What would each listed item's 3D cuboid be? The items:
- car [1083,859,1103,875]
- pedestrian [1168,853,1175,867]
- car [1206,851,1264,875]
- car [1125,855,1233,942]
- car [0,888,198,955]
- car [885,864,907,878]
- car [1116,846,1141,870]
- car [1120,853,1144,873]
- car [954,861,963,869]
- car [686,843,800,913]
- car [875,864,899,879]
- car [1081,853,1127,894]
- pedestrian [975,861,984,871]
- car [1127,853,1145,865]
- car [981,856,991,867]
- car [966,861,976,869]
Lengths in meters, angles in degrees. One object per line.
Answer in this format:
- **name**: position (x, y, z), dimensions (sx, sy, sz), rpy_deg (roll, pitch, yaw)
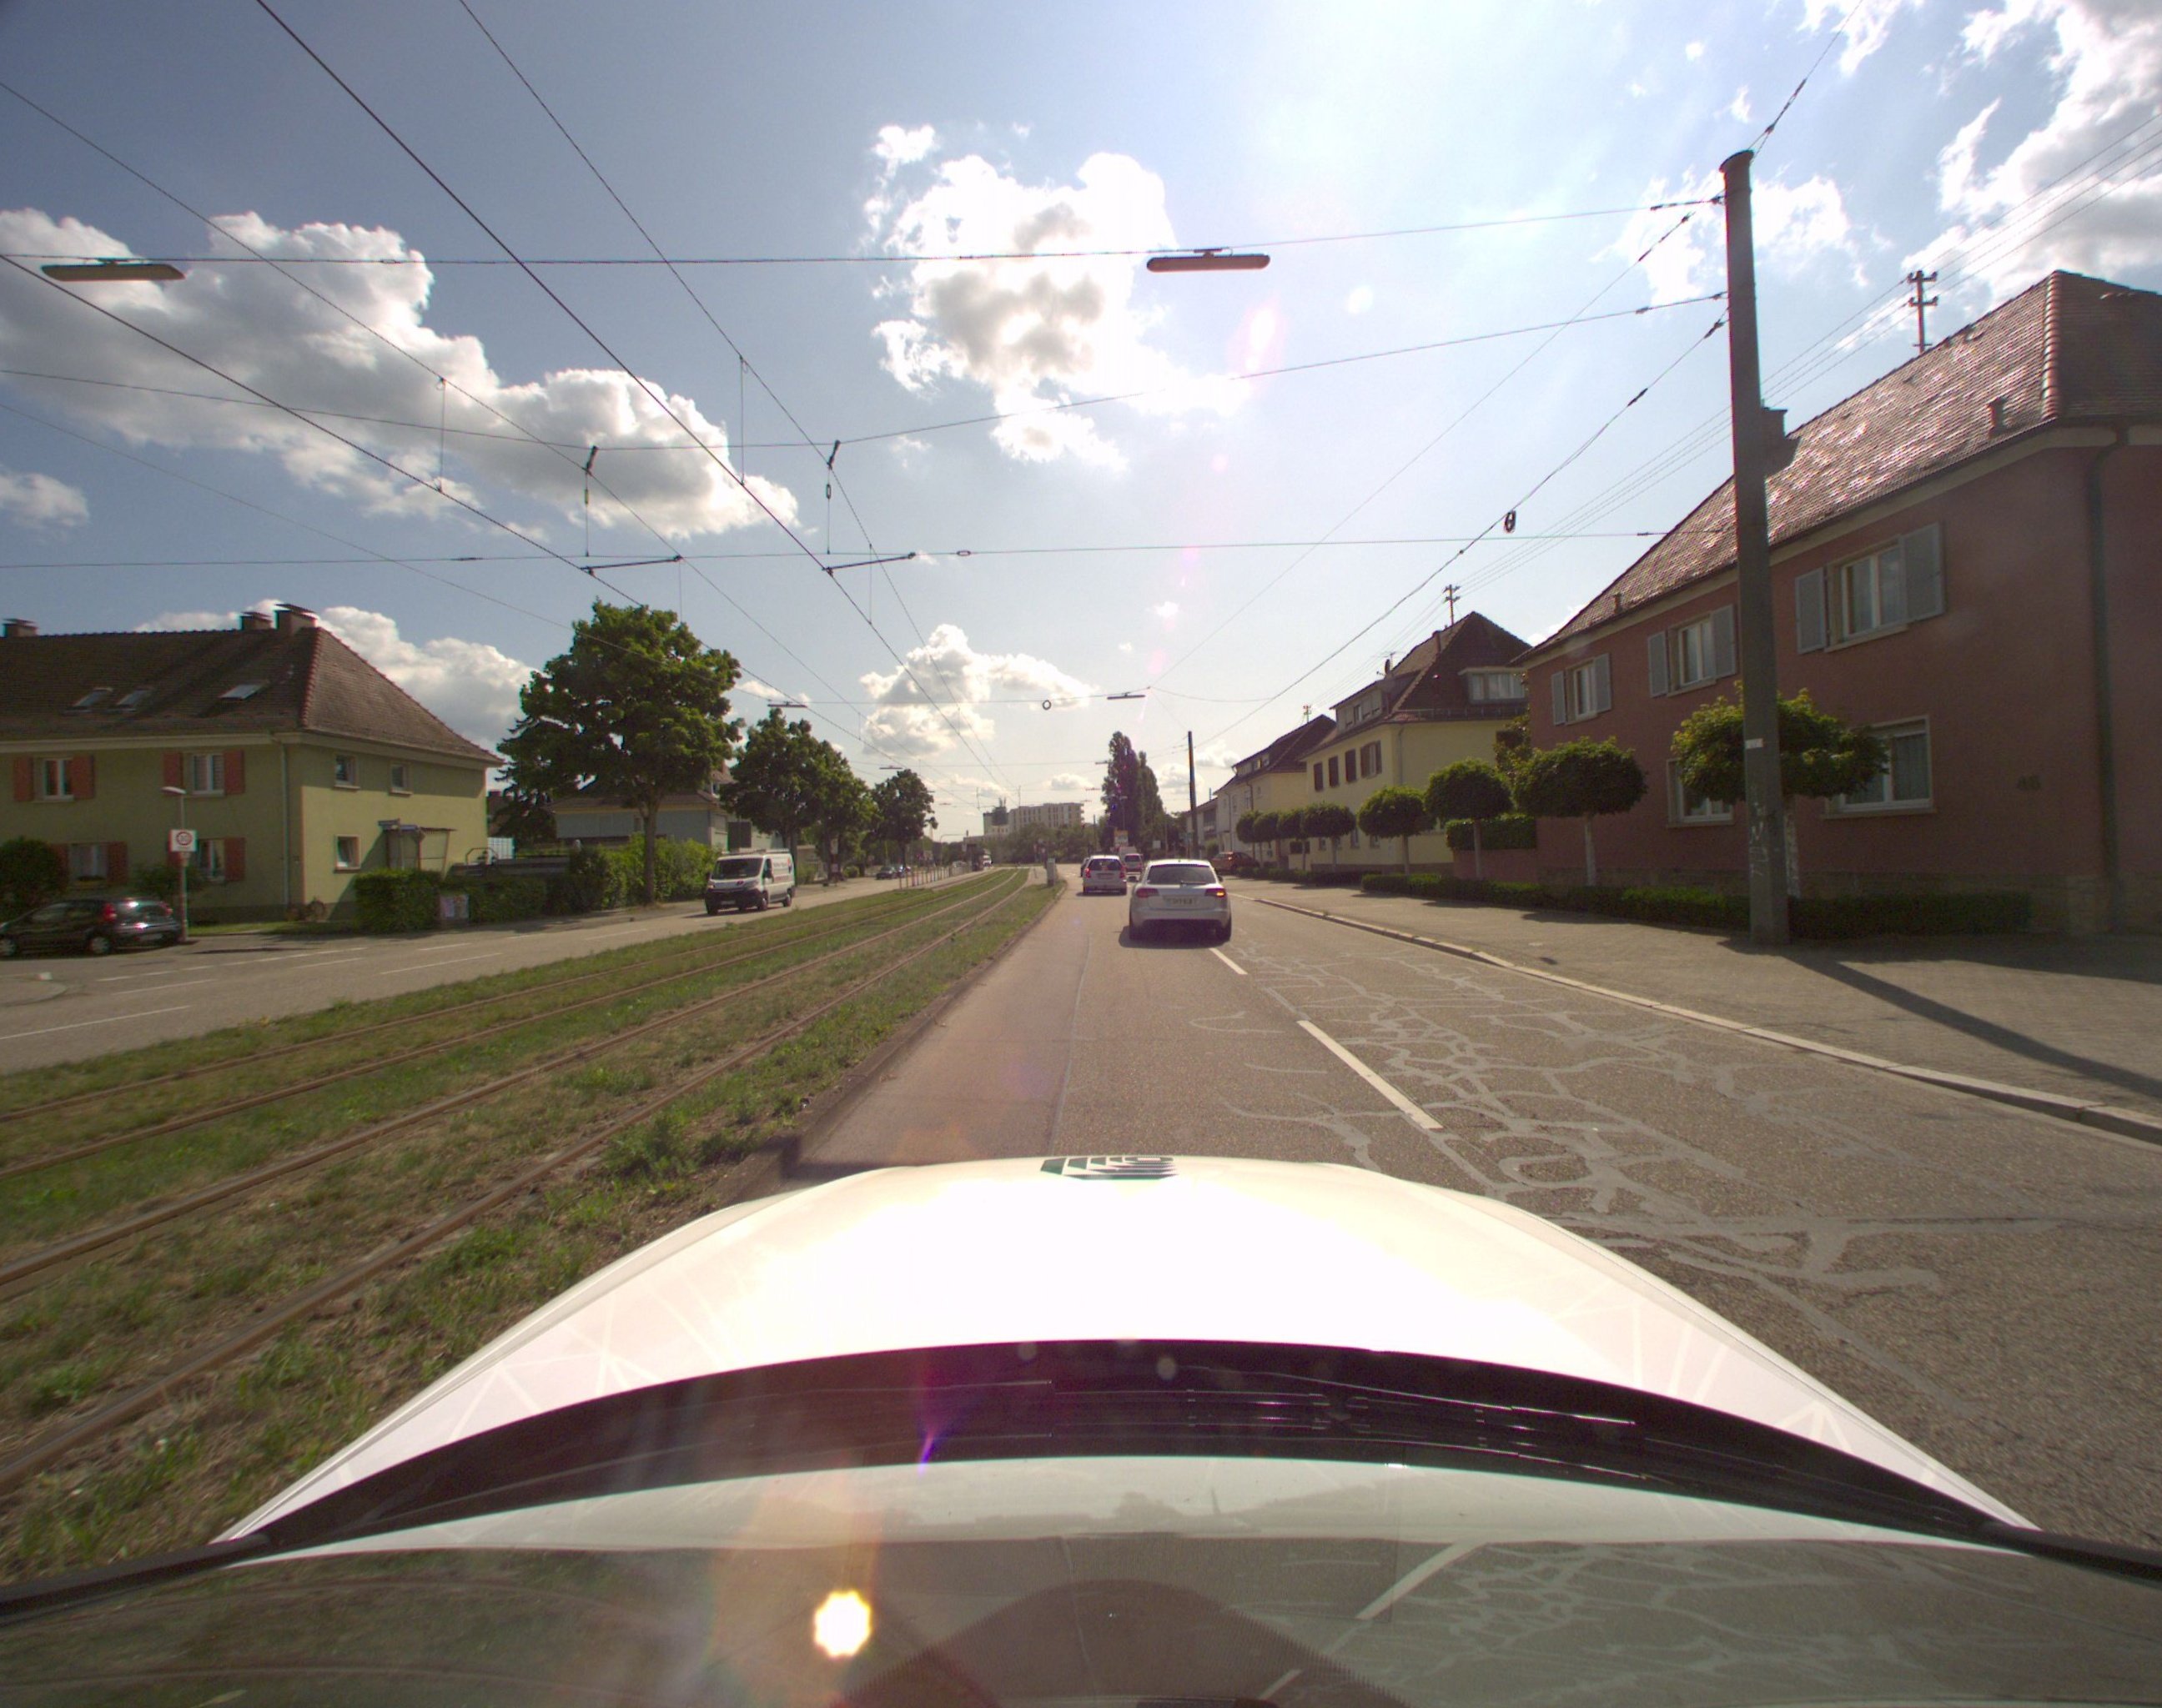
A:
- **car**: position (1.101, 1.259, 78.783), dimensions (1.879, 1.530, 4.093), rpy_deg (0, -1, 0)
- **pedestrian**: position (11.537, 0.793, 103.457), dimensions (0.719, 1.783, 0.702), rpy_deg (-4, -1, -1)
- **car**: position (10.634, 0.611, 56.141), dimensions (4.117, 1.458, 1.892), rpy_deg (-3, 1, -44)
- **car**: position (1.843, 0.786, 16.334), dimensions (1.846, 1.492, 4.540), rpy_deg (-1, 0, 4)
- **car**: position (-26.045, 1.743, 21.271), dimensions (3.732, 1.468, 1.892), rpy_deg (-2, 0, -2)
- **car**: position (-21.643, 1.970, 95.410), dimensions (2.059, 1.614, 4.738), rpy_deg (-2, 0, -9)
- **car**: position (5.149, 0.443, 89.049), dimensions (2.037, 2.557, 5.224), rpy_deg (-1, 0, -4)
- **car**: position (4.585, 0.781, 72.463), dimensions (1.875, 1.731, 4.101), rpy_deg (-2, 0, 6)
- **car**: position (-25.551, 2.295, 169.621), dimensions (1.861, 1.651, 3.989), rpy_deg (0, -1, -7)
- **car**: position (-12.811, 0.881, 31.322), dimensions (2.191, 2.372, 5.328), rpy_deg (-3, -1, -2)
- **car**: position (-21.202, 1.929, 89.198), dimensions (1.781, 1.584, 3.928), rpy_deg (-1, 0, -1)
- **car**: position (0.903, 0.763, 33.641), dimensions (1.781, 1.577, 4.093), rpy_deg (1, 0, 0)
- **pedestrian**: position (-13.166, 1.565, 105.688), dimensions (1.056, 1.376, 0.859), rpy_deg (0, -1, -4)
- **car**: position (7.365, 0.656, 109.399), dimensions (1.881, 1.637, 4.088), rpy_deg (0, -1, -4)
- **car**: position (-21.651, 1.725, 185.445), dimensions (1.995, 2.606, 4.857), rpy_deg (0, -1, -12)
- **car**: position (-22.511, 2.319, 166.992), dimensions (1.895, 1.541, 3.720), rpy_deg (0, -1, -7)
